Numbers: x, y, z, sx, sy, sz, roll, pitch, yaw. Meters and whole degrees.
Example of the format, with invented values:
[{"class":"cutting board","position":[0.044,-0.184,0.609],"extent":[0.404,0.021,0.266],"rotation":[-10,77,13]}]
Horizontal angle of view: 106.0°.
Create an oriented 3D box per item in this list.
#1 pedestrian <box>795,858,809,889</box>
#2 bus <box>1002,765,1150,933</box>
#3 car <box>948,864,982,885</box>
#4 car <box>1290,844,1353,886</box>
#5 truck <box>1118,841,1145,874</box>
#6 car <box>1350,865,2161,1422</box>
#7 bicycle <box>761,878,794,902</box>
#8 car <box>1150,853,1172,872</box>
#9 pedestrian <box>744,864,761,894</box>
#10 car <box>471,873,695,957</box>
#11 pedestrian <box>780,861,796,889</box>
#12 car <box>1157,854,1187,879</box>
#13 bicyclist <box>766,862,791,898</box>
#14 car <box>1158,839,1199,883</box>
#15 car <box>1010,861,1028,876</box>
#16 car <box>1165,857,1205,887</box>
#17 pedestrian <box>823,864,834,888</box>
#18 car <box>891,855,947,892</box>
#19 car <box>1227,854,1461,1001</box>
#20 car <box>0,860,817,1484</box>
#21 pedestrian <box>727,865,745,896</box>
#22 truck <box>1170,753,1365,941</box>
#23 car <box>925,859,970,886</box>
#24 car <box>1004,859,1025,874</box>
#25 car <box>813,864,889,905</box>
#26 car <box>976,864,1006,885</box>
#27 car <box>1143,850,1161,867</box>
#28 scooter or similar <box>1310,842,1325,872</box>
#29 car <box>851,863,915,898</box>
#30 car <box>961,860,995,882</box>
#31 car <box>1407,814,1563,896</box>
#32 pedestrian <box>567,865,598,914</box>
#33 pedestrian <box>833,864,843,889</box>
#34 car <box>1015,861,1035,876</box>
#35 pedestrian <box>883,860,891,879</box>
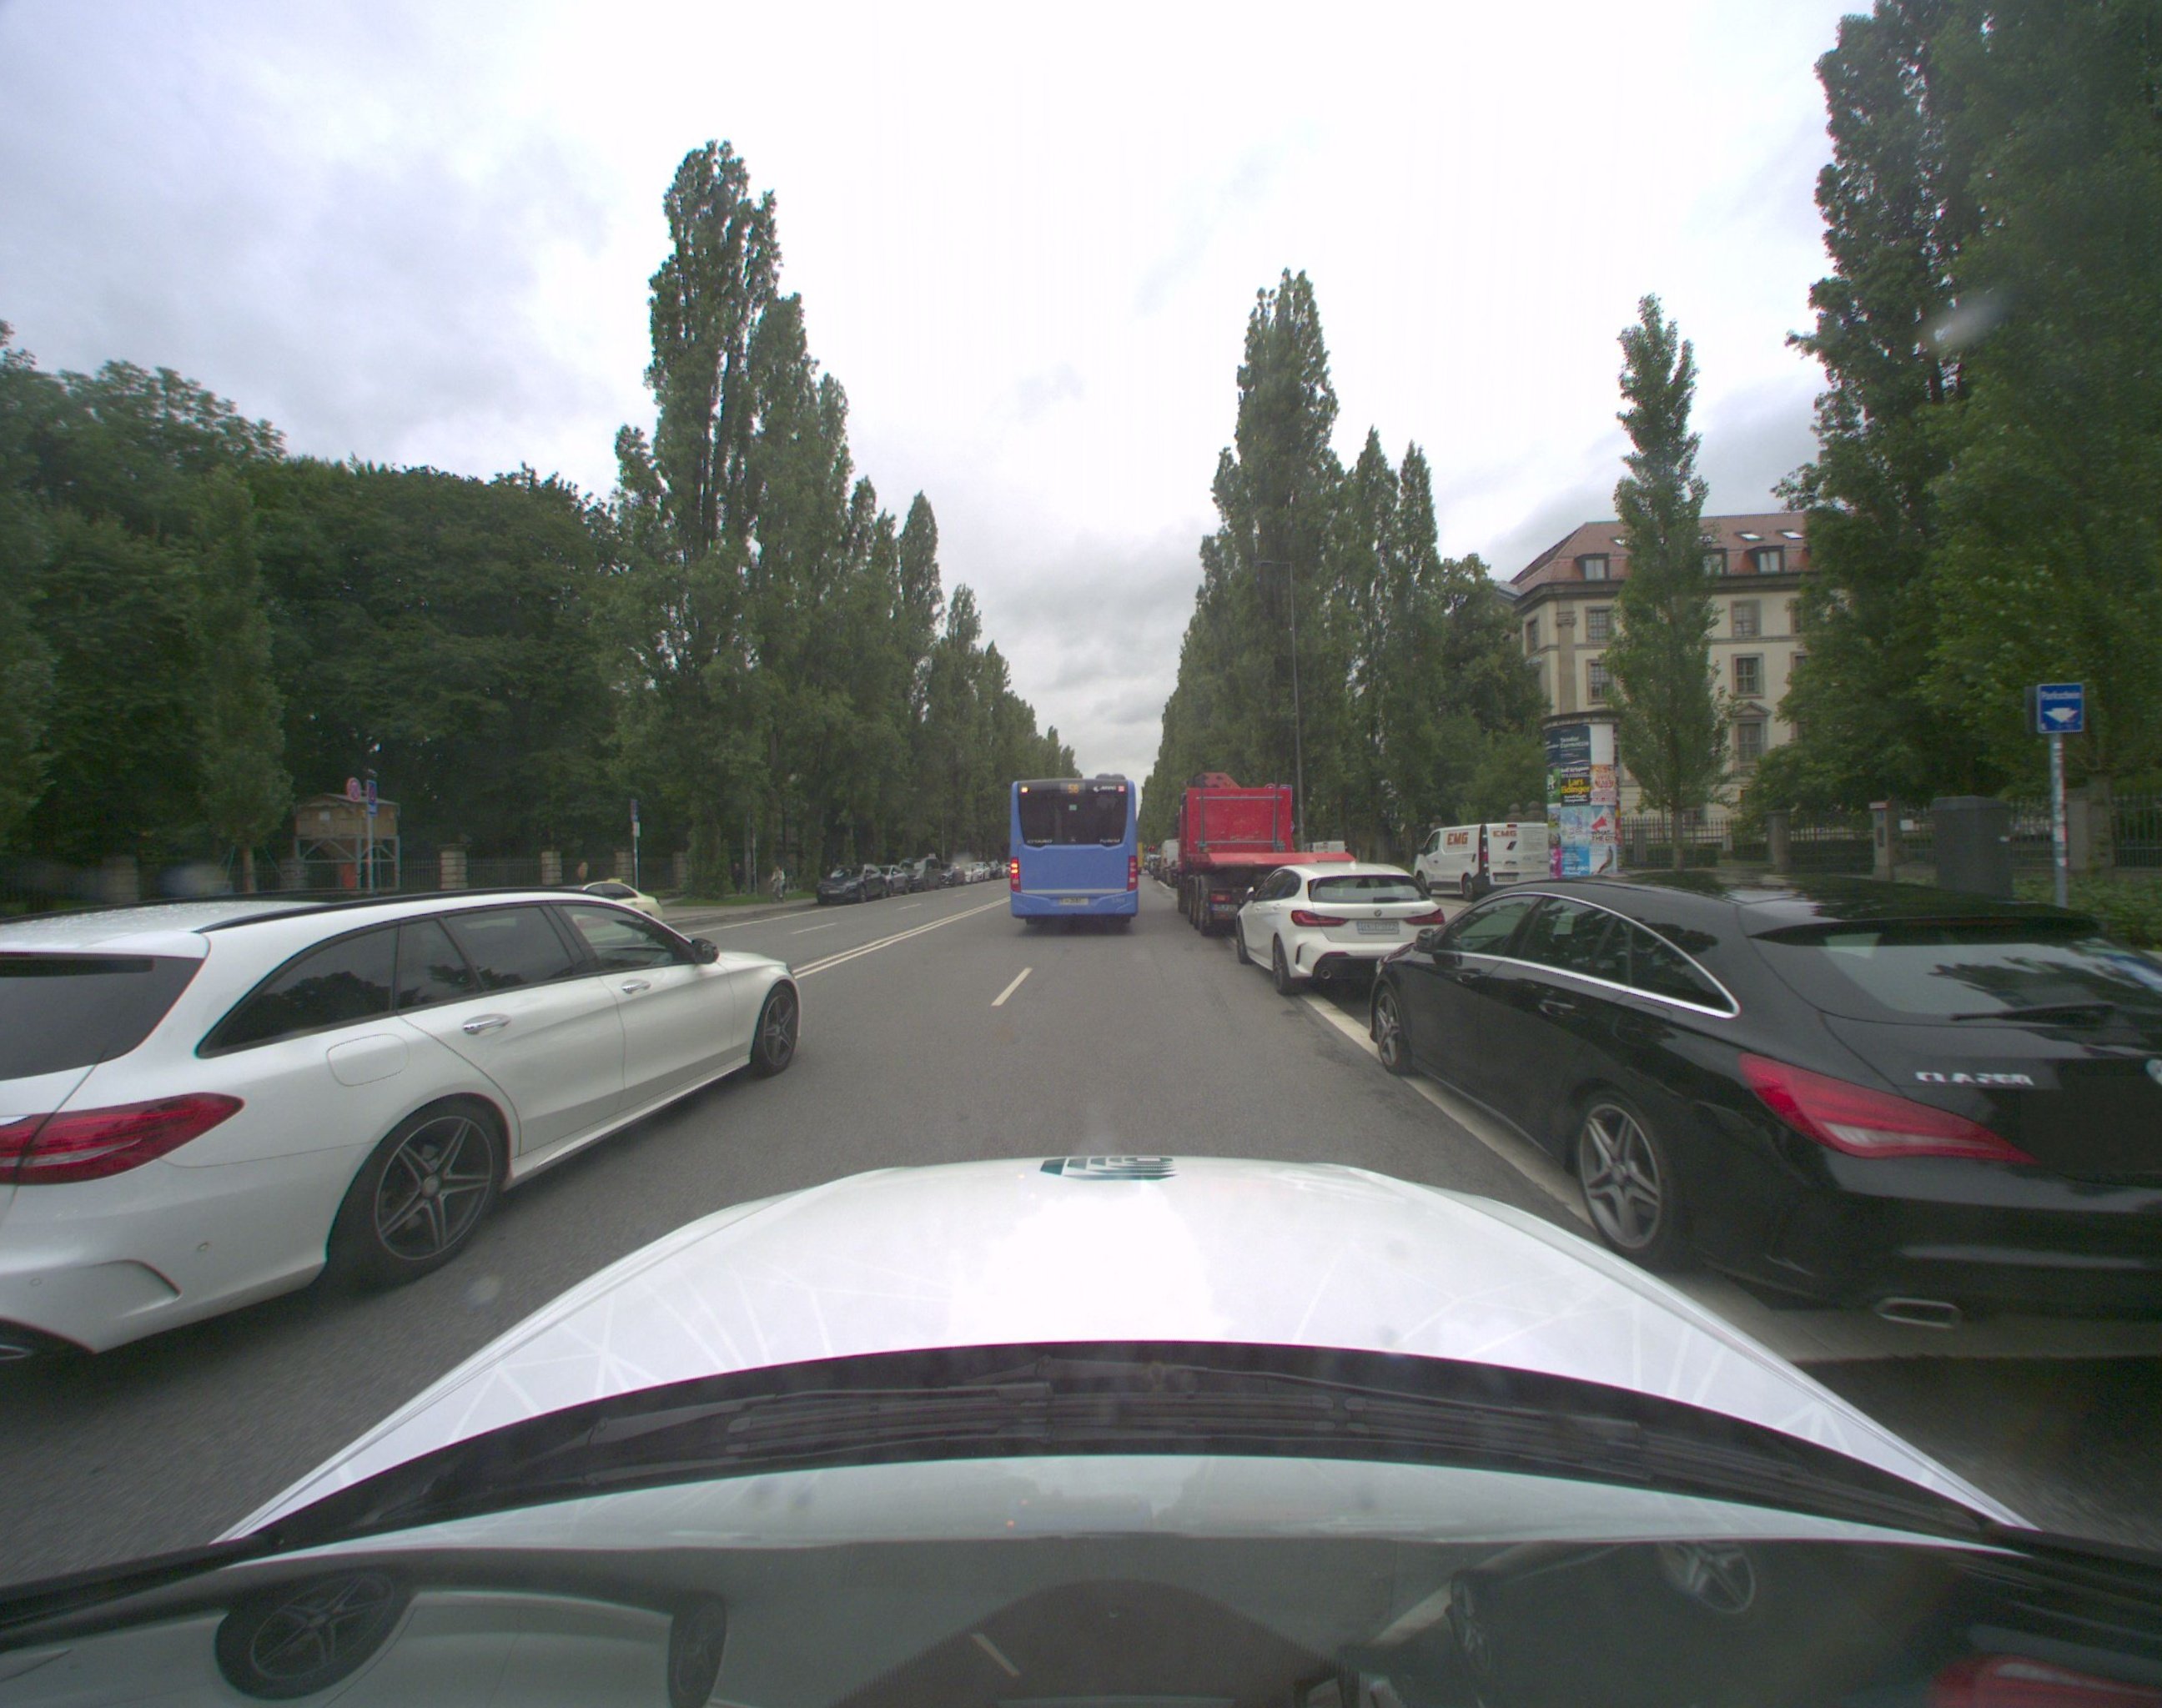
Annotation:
[{"class":"pedestrian","position":[-18.406,1.289,53.653],"extent":[0.663,2.014,0.639],"rotation":[-1,-1,2]},{"class":"bus","position":[-0.023,-0.066,20.338],"extent":[2.846,3.213,9.060],"rotation":[-1,0,1]},{"class":"car","position":[-8.635,1.521,61.048],"extent":[1.669,1.422,4.240],"rotation":[-3,-1,3]},{"class":"car","position":[12.109,0.534,41.306],"extent":[1.985,1.946,5.088],"rotation":[-1,-1,4]},{"class":"truck","position":[4.577,0.326,74.942],"extent":[2.318,2.898,7.338],"rotation":[-1,-1,3]},{"class":"car","position":[2.844,0.751,4.190],"extent":[1.727,1.310,4.375],"rotation":[-2,0,4]},{"class":"bicycle","position":[-13.027,1.544,35.043],"extent":[0.705,0.939,1.736],"rotation":[-1,-1,2]},{"class":"car","position":[6.921,0.701,70.741],"extent":[1.773,1.582,4.149],"rotation":[1,-1,3]},{"class":"pedestrian","position":[-19.436,1.477,48.161],"extent":[0.664,1.722,0.734],"rotation":[-1,-1,4]},{"class":"car","position":[-11.145,1.279,18.750],"extent":[1.922,1.497,4.796],"rotation":[-2,0,4]},{"class":"pedestrian","position":[-19.221,1.379,53.377],"extent":[0.743,1.854,0.758],"rotation":[-1,-1,4]},{"class":"car","position":[6.130,0.852,55.243],"extent":[1.813,1.590,4.226],"rotation":[0,-1,3]},{"class":"bicyclist","position":[-13.028,1.110,35.071],"extent":[0.691,1.498,0.862],"rotation":[-2,-1,2]},{"class":"car","position":[5.787,0.419,48.992],"extent":[2.066,2.479,6.288],"rotation":[0,0,3]},{"class":"car","position":[-6.869,1.604,90.548],"extent":[1.739,1.519,4.114],"rotation":[-3,-1,-2]},{"class":"car","position":[5.278,0.901,41.778],"extent":[1.747,1.450,4.003],"rotation":[1,0,3]},{"class":"pedestrian","position":[-17.725,1.553,57.128],"extent":[0.506,1.707,0.570],"rotation":[-1,-1,4]},{"class":"car","position":[-9.422,1.116,47.760],"extent":[1.985,1.956,4.941],"rotation":[-3,0,3]},{"class":"car","position":[3.010,0.750,10.260],"extent":[1.780,1.460,4.221],"rotation":[-1,0,3]},{"class":"car","position":[-3.218,0.773,4.260],"extent":[1.817,1.454,4.589],"rotation":[0,-1,5]},{"class":"pedestrian","position":[-18.590,1.419,43.864],"extent":[0.615,1.660,0.705],"rotation":[-1,-1,4]},{"class":"truck","position":[3.706,-0.078,18.921],"extent":[2.702,3.110,10.436],"rotation":[-2,-1,4]},{"class":"car","position":[-8.848,1.232,54.492],"extent":[1.808,1.609,5.057],"rotation":[-4,-1,3]},{"class":"car","position":[-7.008,1.321,85.786],"extent":[1.678,1.413,4.006],"rotation":[-3,-1,2]},{"class":"car","position":[-10.100,1.292,36.137],"extent":[1.775,1.596,4.617],"rotation":[-3,0,3]},{"class":"car","position":[-7.898,1.758,72.108],"extent":[1.873,1.658,4.720],"rotation":[-4,0,2]},{"class":"car","position":[8.699,0.544,100.606],"extent":[2.043,2.014,5.698],"rotation":[-1,0,4]},{"class":"scooter or similar","position":[10.052,0.127,34.600],"extent":[0.335,1.265,1.187],"rotation":[-1,-1,4]},{"class":"car","position":[-10.025,1.315,41.628],"extent":[1.883,1.584,4.658],"rotation":[-2,-1,3]},{"class":"car","position":[-8.368,1.374,66.422],"extent":[1.777,1.588,4.466],"rotation":[-3,0,4]},{"class":"car","position":[10.487,0.037,21.631],"extent":[1.873,1.945,4.887],"rotation":[0,0,2]},{"class":"pedestrian","position":[-17.823,1.269,29.138],"extent":[0.580,1.720,0.787],"rotation":[-1,-1,2]},{"class":"pedestrian","position":[-17.049,1.588,57.225],"extent":[0.506,1.707,0.570],"rotation":[-1,-1,4]},{"class":"car","position":[-6.574,1.703,95.537],"extent":[1.807,1.643,4.003],"rotation":[-1,-1,3]},{"class":"pedestrian","position":[-17.641,1.400,74.005],"extent":[0.547,1.747,0.673],"rotation":[-1,-1,2]}]
